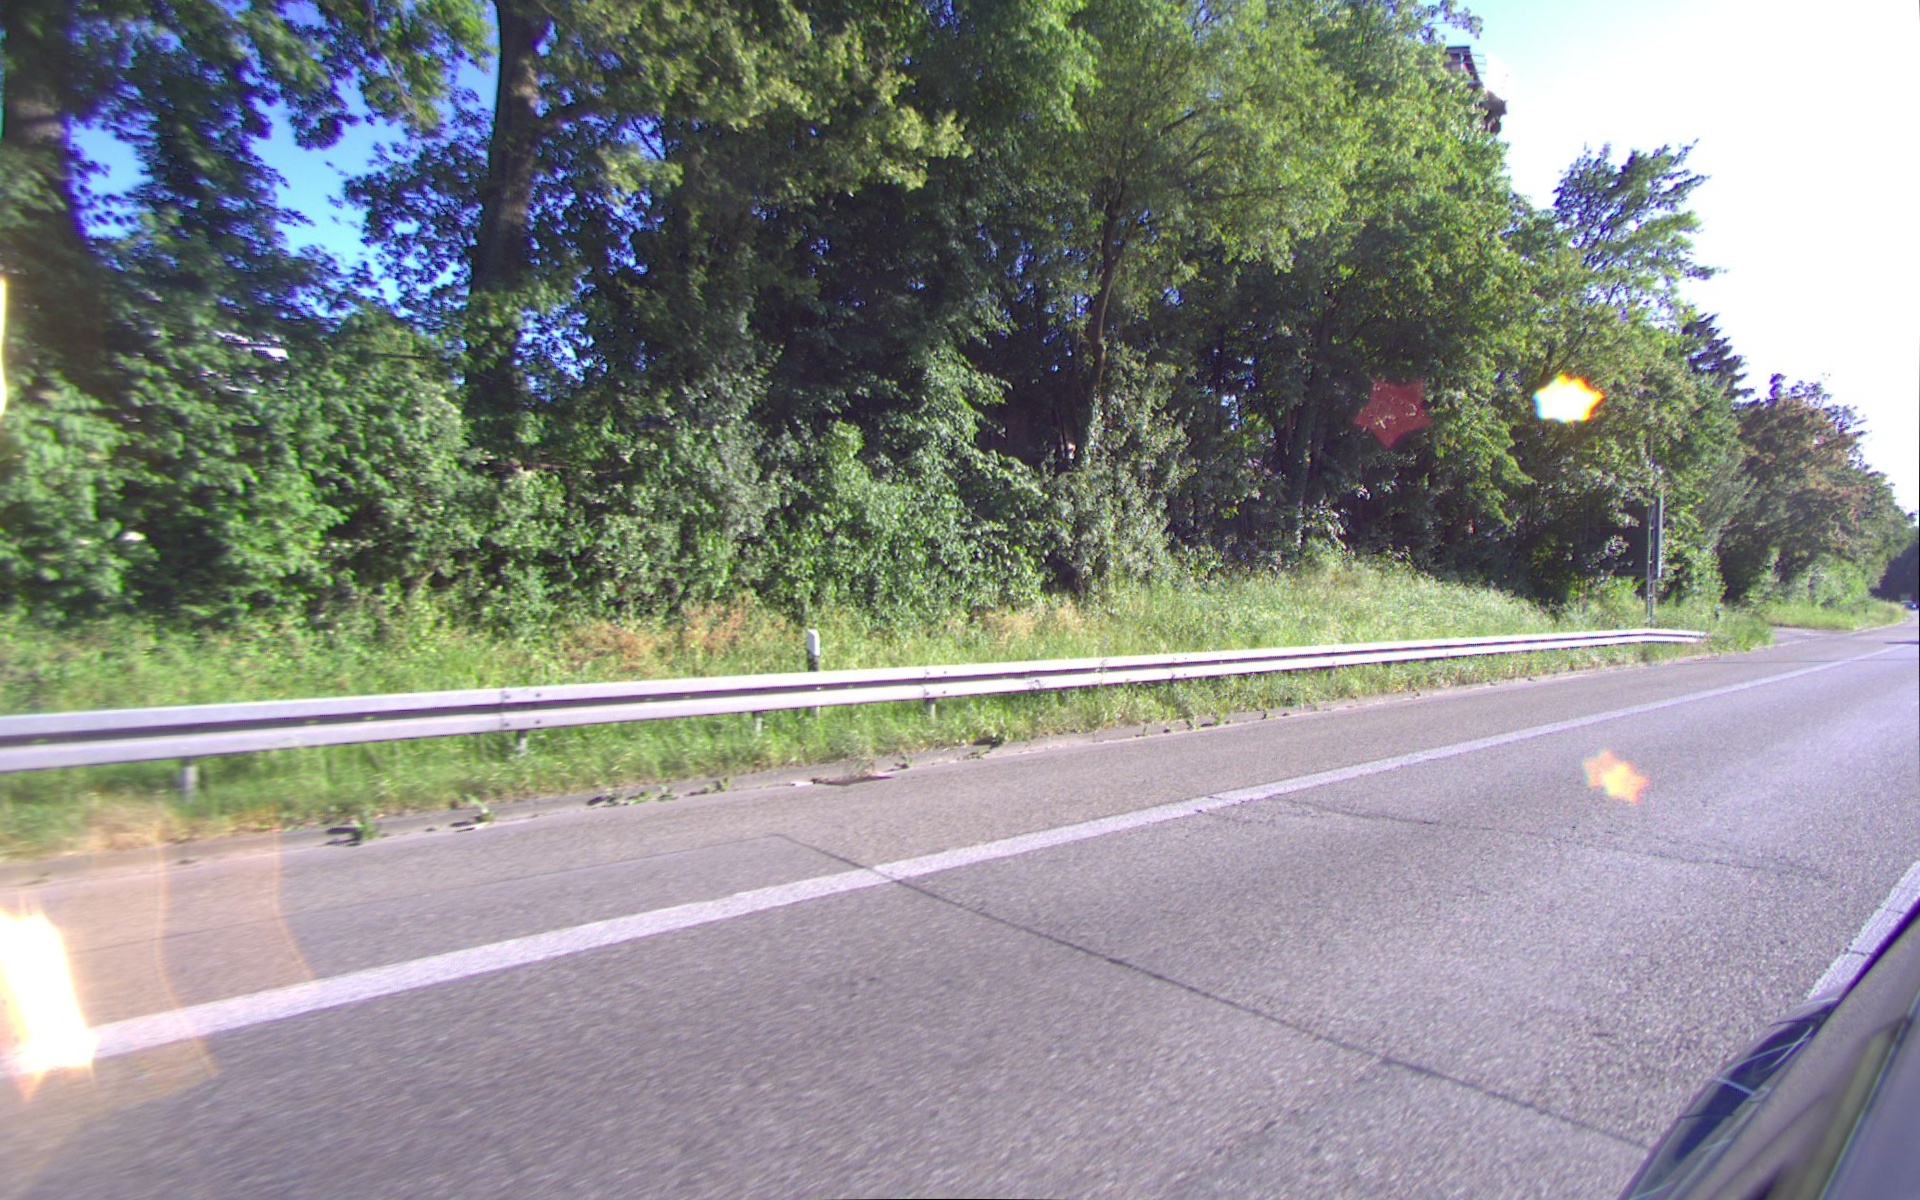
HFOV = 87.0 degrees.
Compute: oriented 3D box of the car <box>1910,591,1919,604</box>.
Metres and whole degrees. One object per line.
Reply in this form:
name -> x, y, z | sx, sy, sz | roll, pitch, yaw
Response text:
car -> 158.171, -0.368, 166.797 | 1.990, 2.039, 3.944 | 1, 1, 38
